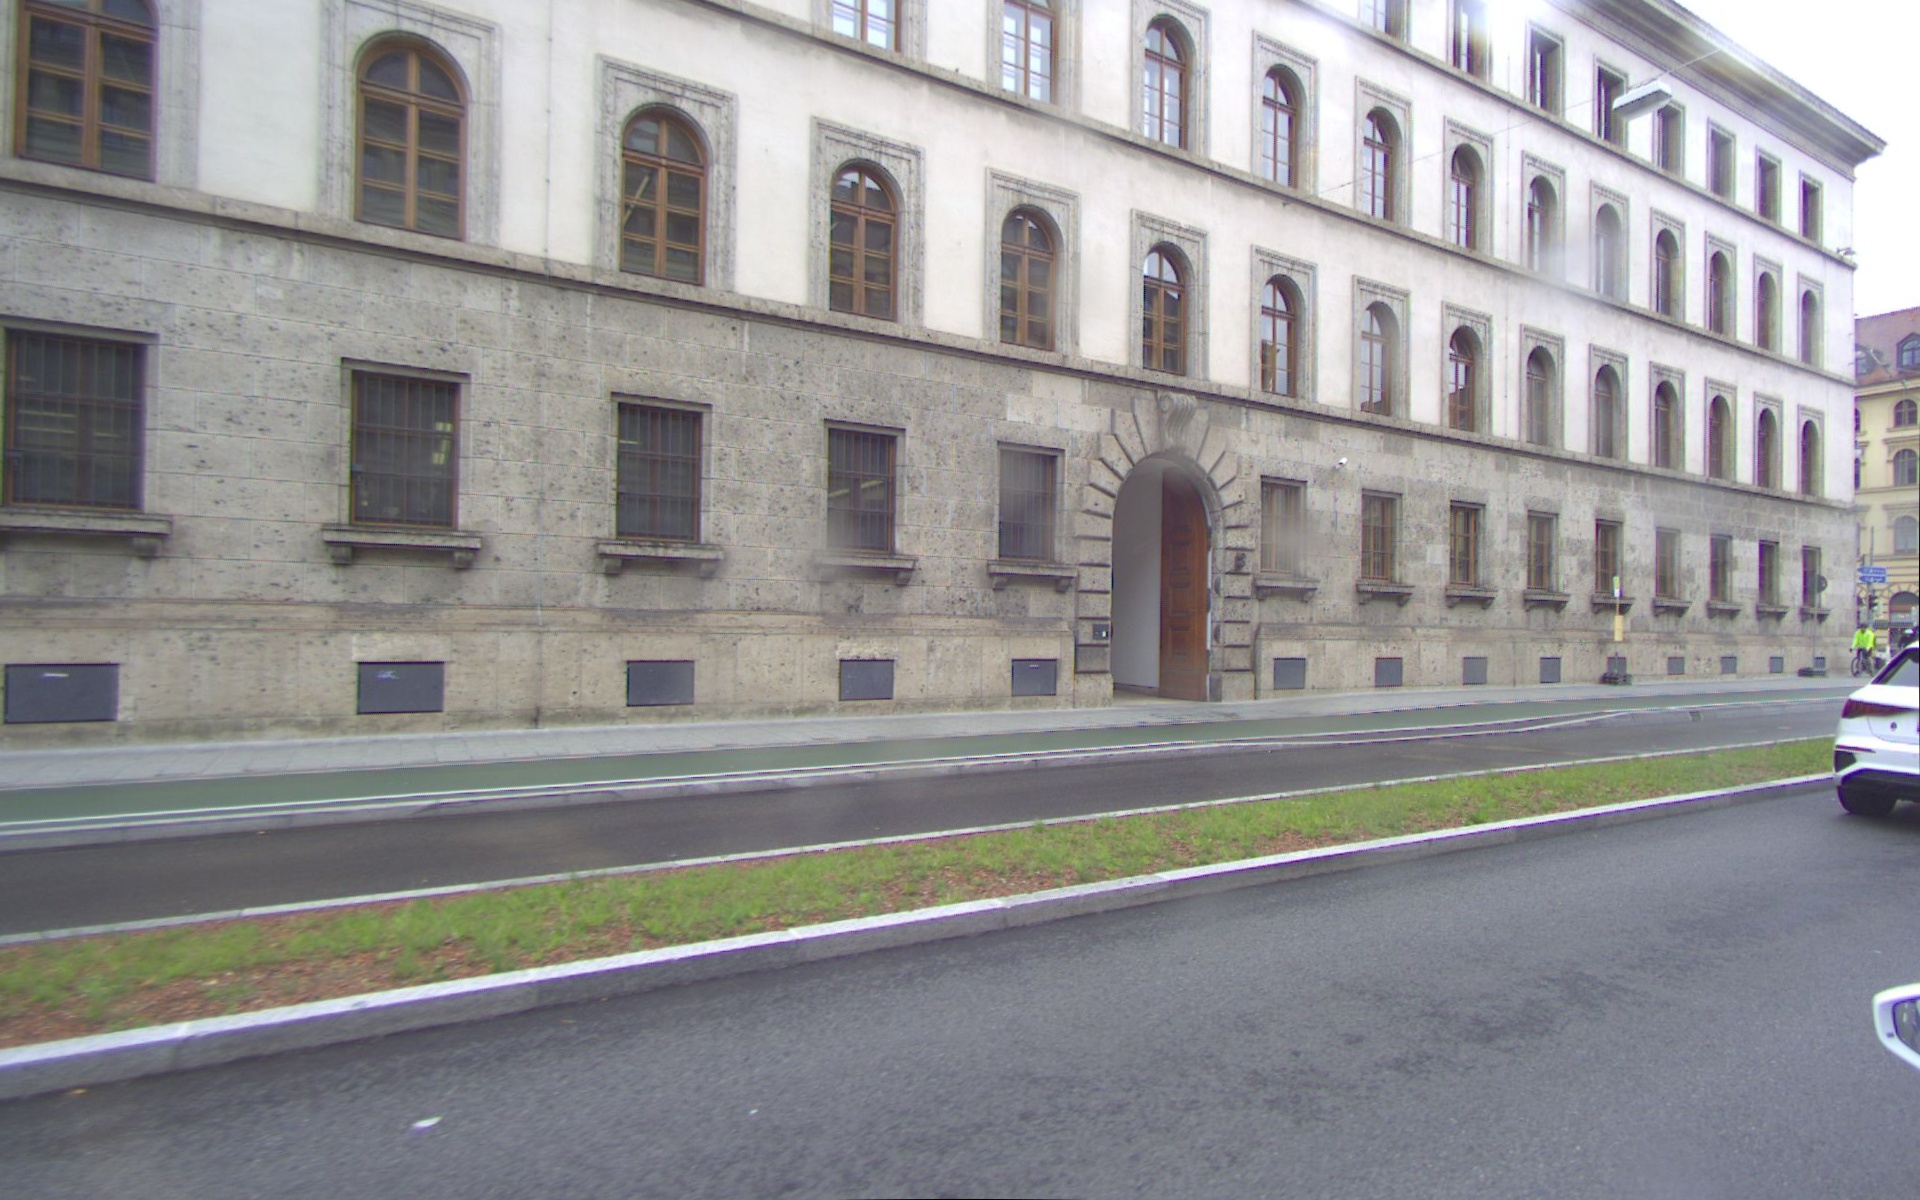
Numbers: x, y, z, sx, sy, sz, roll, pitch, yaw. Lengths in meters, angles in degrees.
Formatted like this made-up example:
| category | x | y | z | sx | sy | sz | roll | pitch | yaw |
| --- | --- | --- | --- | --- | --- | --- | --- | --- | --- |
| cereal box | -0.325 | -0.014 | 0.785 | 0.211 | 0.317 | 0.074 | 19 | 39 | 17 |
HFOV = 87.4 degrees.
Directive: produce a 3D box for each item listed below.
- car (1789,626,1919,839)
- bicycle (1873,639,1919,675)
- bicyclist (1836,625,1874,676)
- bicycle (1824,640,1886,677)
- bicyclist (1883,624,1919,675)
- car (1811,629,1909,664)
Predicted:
| category | x | y | z | sx | sy | sz | roll | pitch | yaw |
| --- | --- | --- | --- | --- | --- | --- | --- | --- | --- |
| car | 8.607 | 0.979 | 7.887 | 4.399 | 1.443 | 1.804 | 1 | 0 | -30 |
| bicycle | 34.557 | 2.083 | 36.867 | 2.170 | 1.259 | 0.784 | 1 | 0 | -26 |
| bicyclist | 31.838 | 1.796 | 35.718 | 0.679 | 1.772 | 0.795 | 1 | 0 | -26 |
| bicycle | 31.851 | 2.065 | 35.730 | 2.416 | 1.259 | 0.784 | 1 | 0 | -26 |
| bicyclist | 34.508 | 1.801 | 36.828 | 0.679 | 1.799 | 0.795 | 1 | 0 | -26 |
| car | 50.256 | 2.576 | 56.144 | 1.848 | 1.822 | 3.719 | 2 | -2 | -32 |
